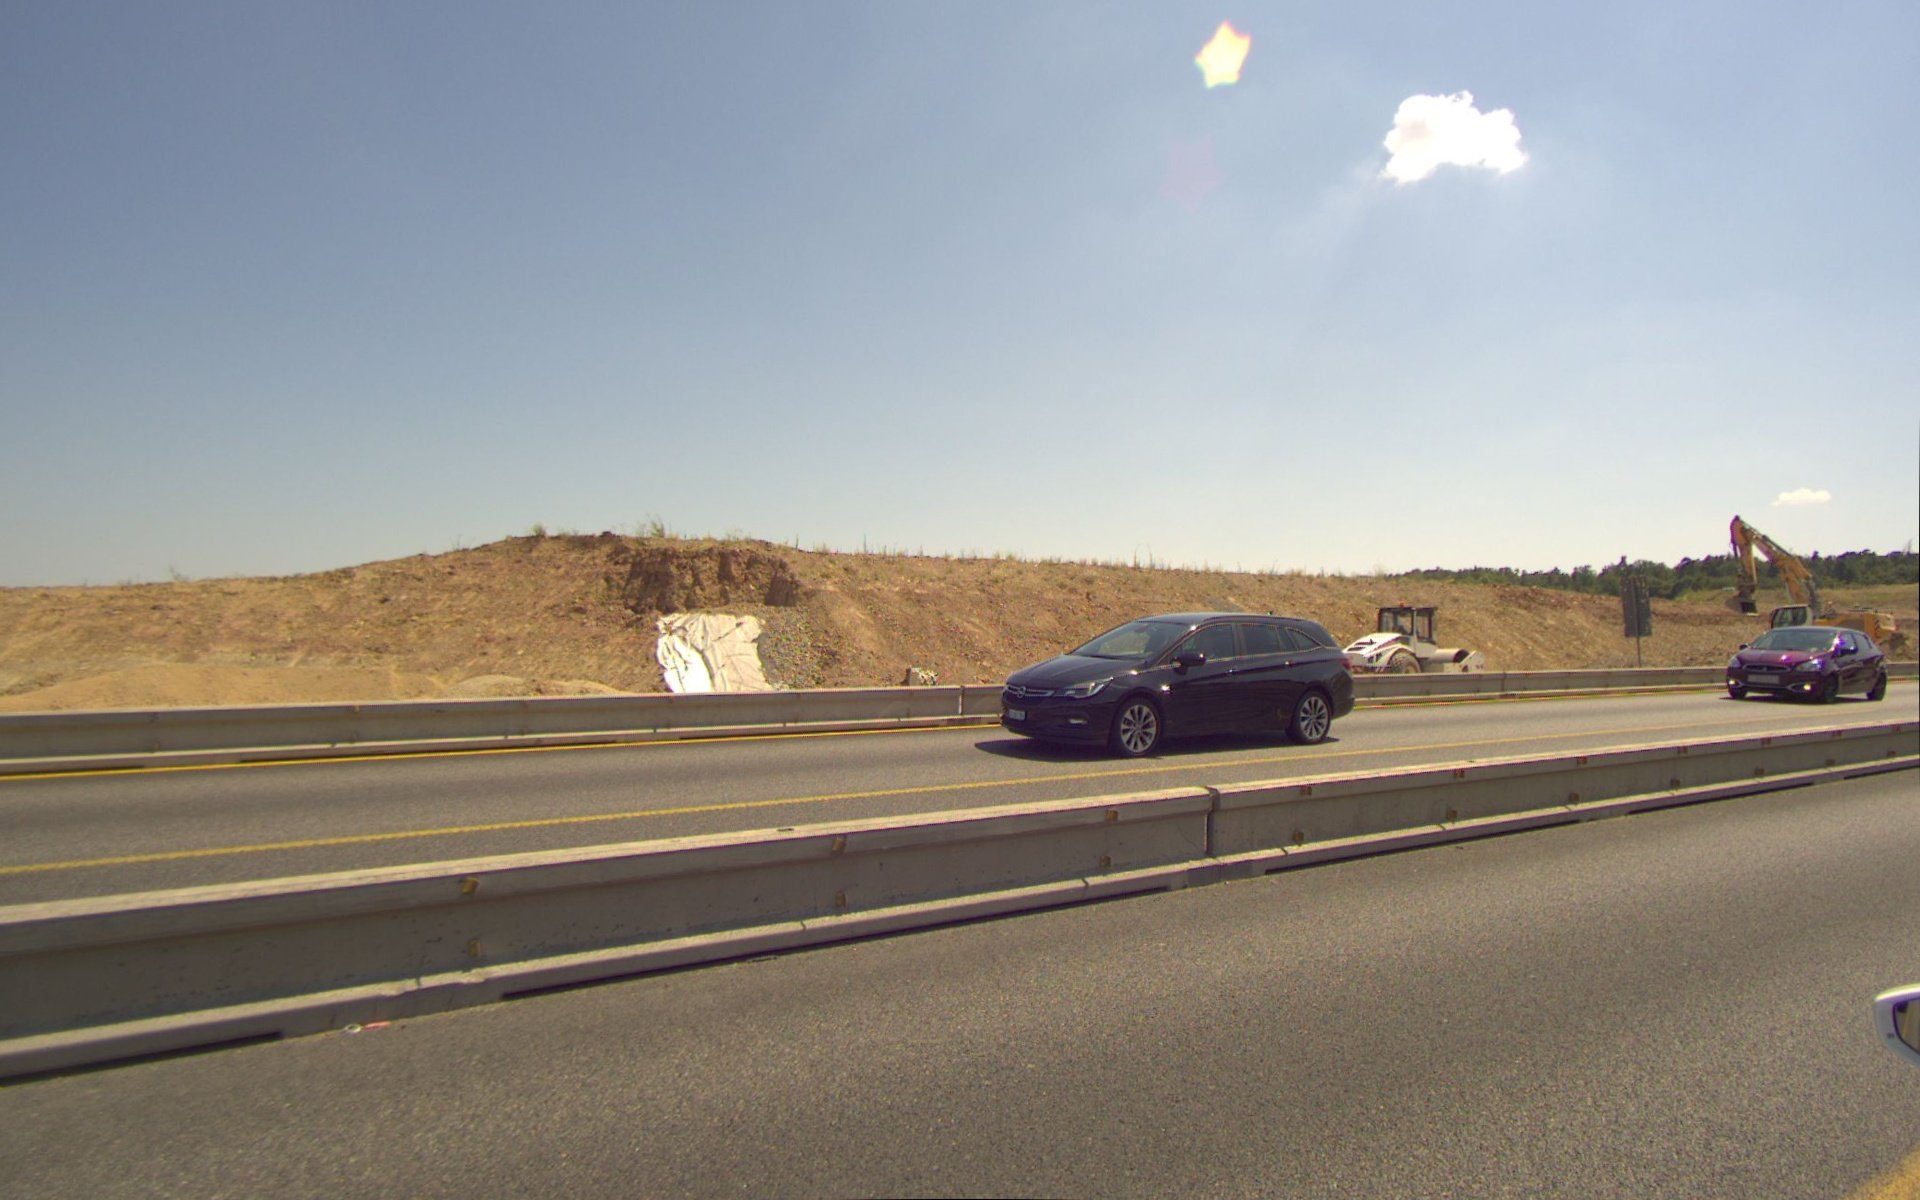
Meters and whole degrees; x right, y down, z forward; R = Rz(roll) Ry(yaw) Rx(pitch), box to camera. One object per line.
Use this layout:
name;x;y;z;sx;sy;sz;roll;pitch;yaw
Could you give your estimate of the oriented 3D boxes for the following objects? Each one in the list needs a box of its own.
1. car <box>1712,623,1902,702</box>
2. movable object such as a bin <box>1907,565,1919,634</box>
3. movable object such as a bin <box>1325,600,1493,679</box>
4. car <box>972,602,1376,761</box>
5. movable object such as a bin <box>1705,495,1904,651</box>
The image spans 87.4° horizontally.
car;17.336;1.218;20.527;4.176;1.461;1.645;1;-1;-30
movable object such as a bin;108.653;-0.118;101.549;3.574;7.327;18.617;1;-1;-31
movable object such as a bin;15.456;1.330;34.406;6.664;2.493;1.694;1;-1;-30
car;2.544;0.837;11.610;4.522;1.520;1.852;1;-1;-30
movable object such as a bin;45.520;-1.257;54.464;3.402;7.816;7.608;1;-1;-28
